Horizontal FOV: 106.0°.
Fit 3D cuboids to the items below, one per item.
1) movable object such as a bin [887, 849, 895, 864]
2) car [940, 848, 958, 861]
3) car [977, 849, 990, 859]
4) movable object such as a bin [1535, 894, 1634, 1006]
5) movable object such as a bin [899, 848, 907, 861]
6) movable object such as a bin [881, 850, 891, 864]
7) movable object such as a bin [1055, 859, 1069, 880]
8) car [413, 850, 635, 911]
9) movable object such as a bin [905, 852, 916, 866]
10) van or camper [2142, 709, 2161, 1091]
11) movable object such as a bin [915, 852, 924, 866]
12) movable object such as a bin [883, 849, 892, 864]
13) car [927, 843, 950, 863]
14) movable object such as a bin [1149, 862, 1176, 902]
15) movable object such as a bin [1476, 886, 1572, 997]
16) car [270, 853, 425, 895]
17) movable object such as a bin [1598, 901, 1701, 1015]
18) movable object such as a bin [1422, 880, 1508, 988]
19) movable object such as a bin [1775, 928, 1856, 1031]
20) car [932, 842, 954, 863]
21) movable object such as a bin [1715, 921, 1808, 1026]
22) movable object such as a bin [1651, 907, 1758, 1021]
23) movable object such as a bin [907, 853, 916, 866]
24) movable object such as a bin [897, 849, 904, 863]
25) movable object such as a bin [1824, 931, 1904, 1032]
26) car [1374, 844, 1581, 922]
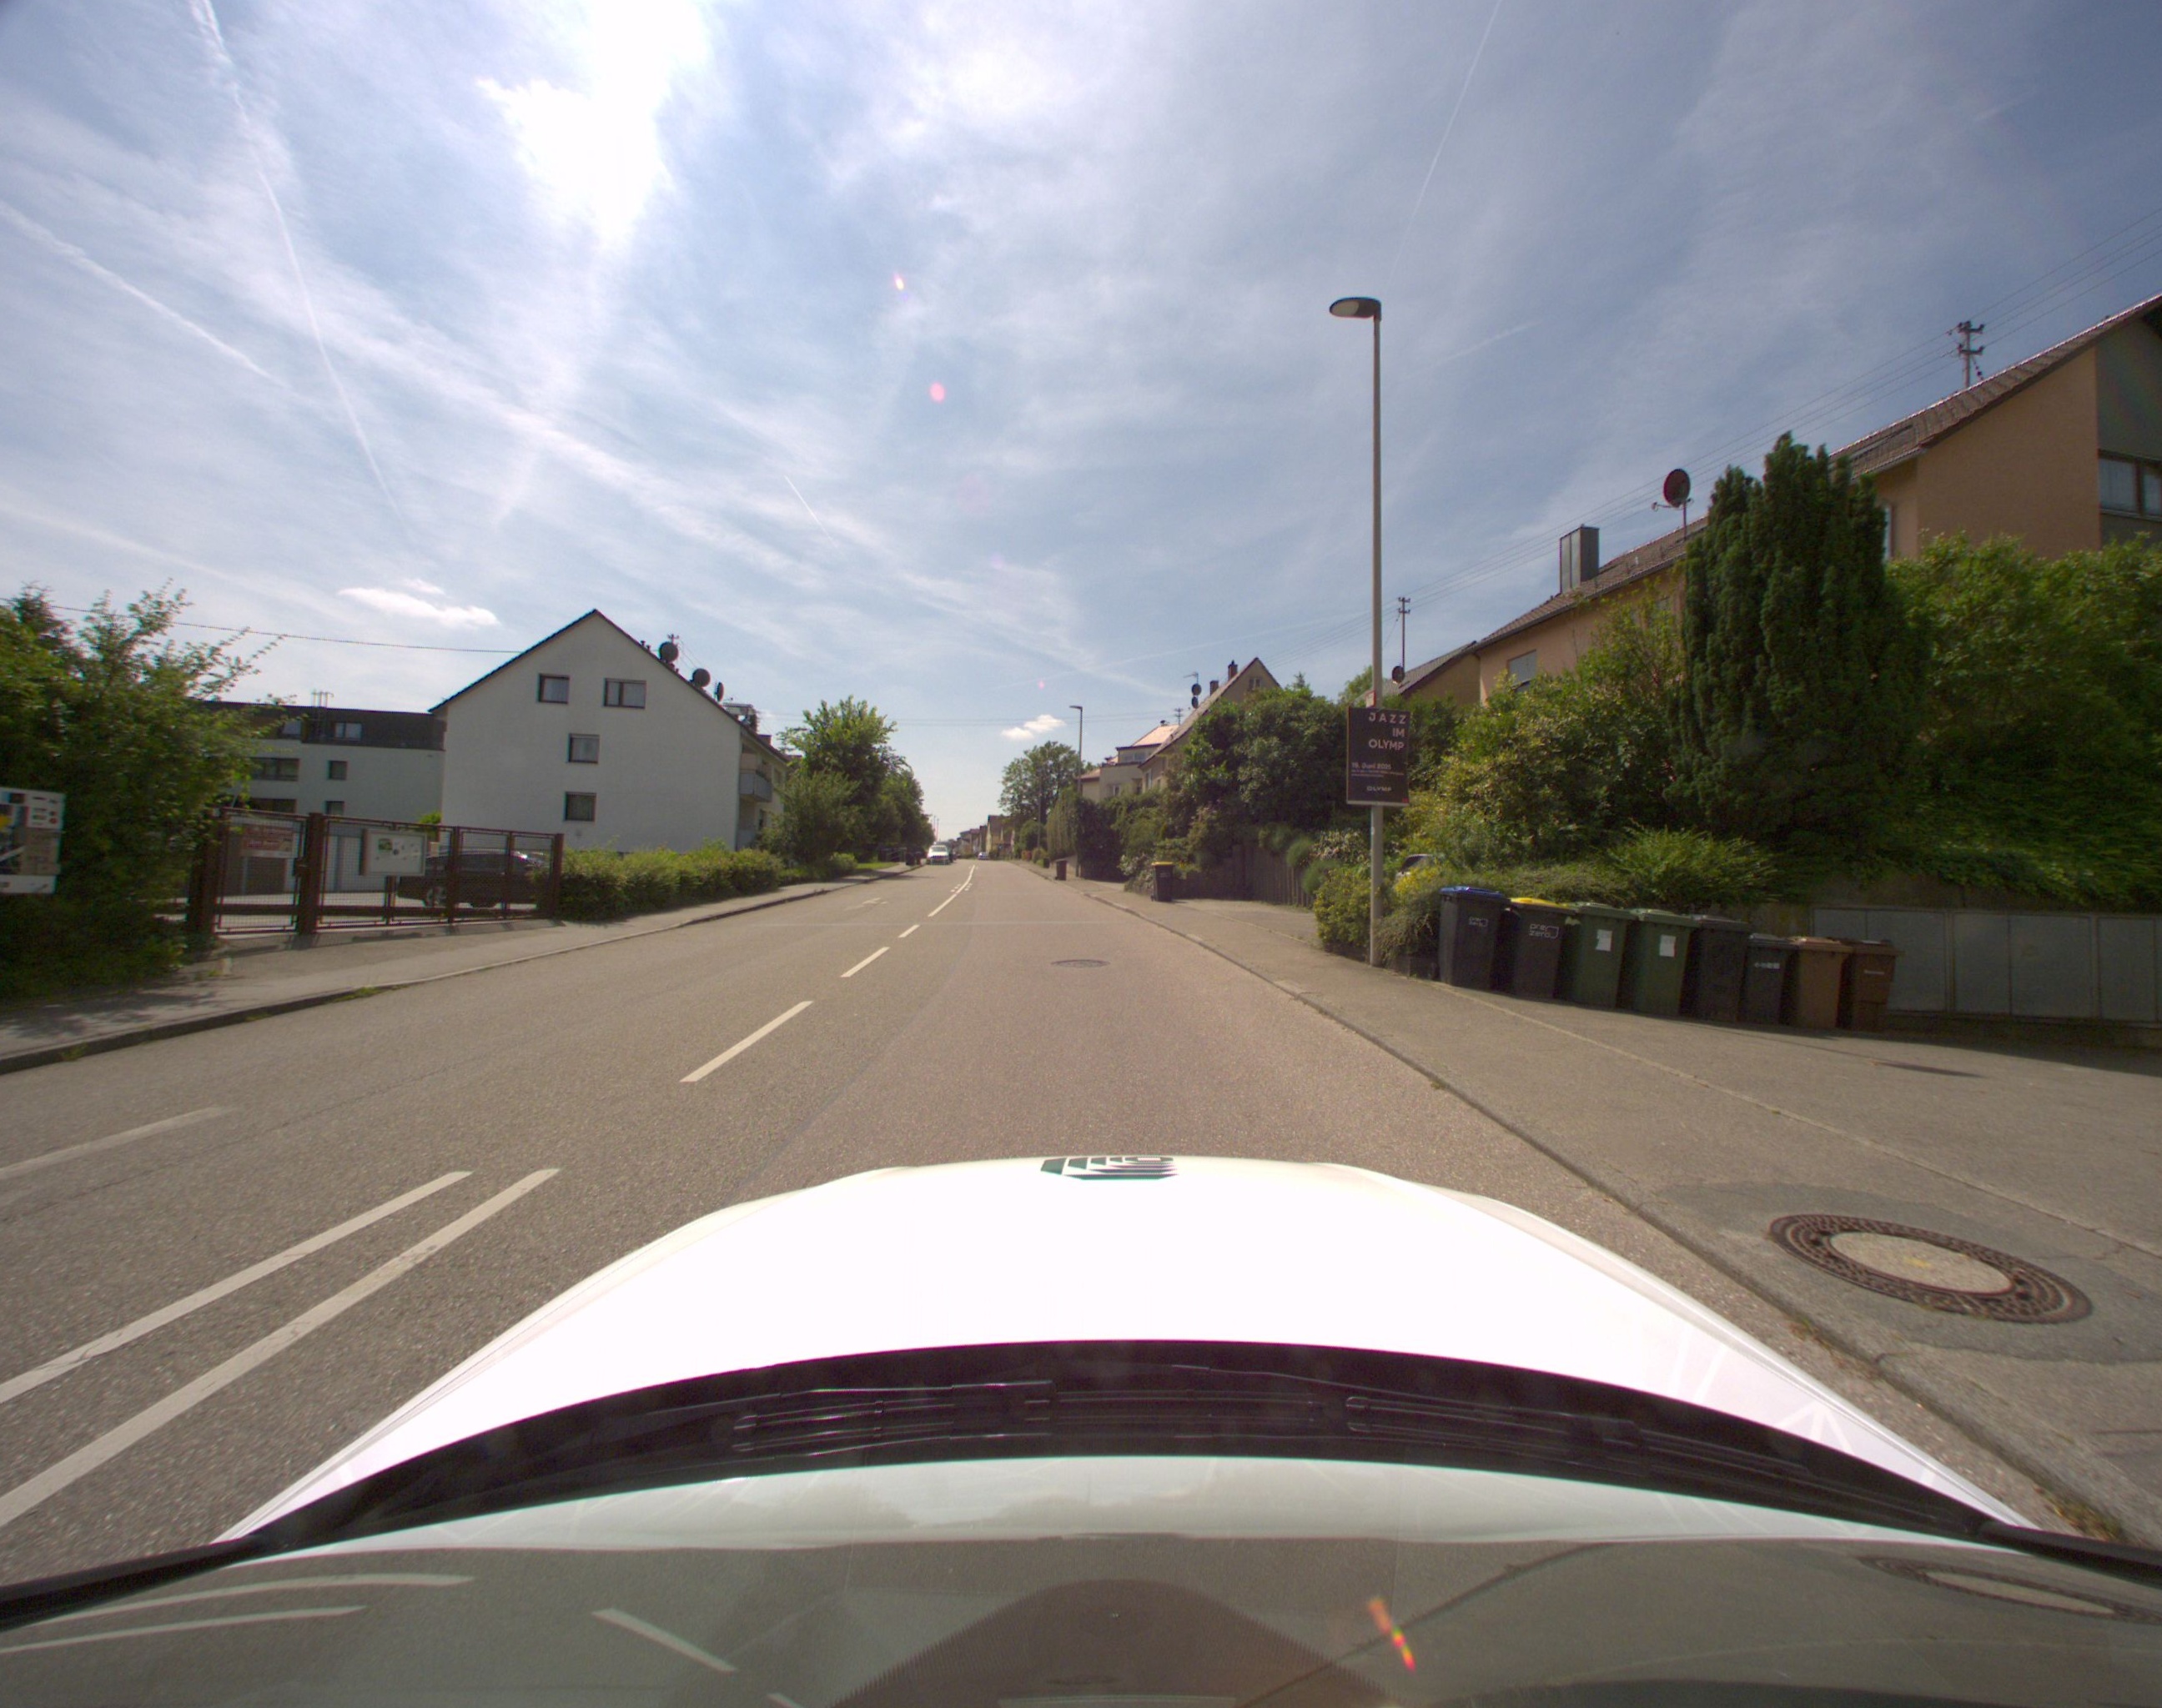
[{"bbox_3d":[-15.243,0.205,65.220,0.475,1.178,0.839,1,0,-2],"label":"movable object such as a bin"},{"bbox_3d":[-14.849,0.062,91.779,1.779,1.394,4.397,0,-1,-7],"label":"car"},{"bbox_3d":[-16.070,0.040,134.598,1.993,1.603,3.988,1,0,-9],"label":"car"},{"bbox_3d":[5.391,1.005,8.752,0.547,1.068,0.673,6,0,1],"label":"movable object such as a bin"},{"bbox_3d":[-14.359,0.016,65.683,0.454,1.044,0.560,-1,-1,-1],"label":"movable object such as a bin"},{"bbox_3d":[-15.254,0.226,63.637,0.601,1.096,0.649,1,0,-1],"label":"movable object such as a bin"},{"bbox_3d":[-0.929,0.740,38.913,0.588,0.977,0.784,-1,0,-8],"label":"movable object such as a bin"},{"bbox_3d":[-13.581,0.638,20.121,3.987,1.387,1.993,1,0,-10],"label":"car"},{"bbox_3d":[-11.912,0.351,57.035,0.617,0.917,0.685,1,0,-1],"label":"movable object such as a bin"},{"bbox_3d":[9.906,0.380,4.264,5.197,2.647,2.289,3,-3,8],"label":"van or camper"},{"bbox_3d":[-11.880,0.377,59.860,0.505,0.988,0.563,1,0,-1],"label":"movable object such as a bin"},{"bbox_3d":[-15.301,0.197,64.366,0.545,1.178,0.673,1,0,-3],"label":"movable object such as a bin"},{"bbox_3d":[-11.815,-0.084,67.603,1.811,1.549,4.229,1,0,-10],"label":"car"},{"bbox_3d":[2.242,0.758,22.442,0.587,1.059,0.918,0,0,-5],"label":"movable object such as a bin"},{"bbox_3d":[4.800,0.925,8.868,0.547,1.068,0.768,6,0,1],"label":"movable object such as a bin"},{"bbox_3d":[-30.115,0.859,33.569,4.259,1.464,1.995,3,-4,-6],"label":"car"},{"bbox_3d":[5.983,1.077,8.599,0.547,1.068,0.673,5,0,1],"label":"movable object such as a bin"},{"bbox_3d":[4.201,0.854,8.948,0.547,1.068,0.659,6,0,1],"label":"movable object such as a bin"},{"bbox_3d":[7.568,1.283,8.405,0.397,0.972,0.409,5,0,1],"label":"movable object such as a bin"},{"bbox_3d":[-12.698,-0.155,74.946,1.896,1.920,4.854,0,1,-10],"label":"car"},{"bbox_3d":[7.082,1.231,8.494,0.457,0.972,0.550,5,0,1],"label":"movable object such as a bin"},{"bbox_3d":[6.553,1.134,8.590,0.547,1.068,0.673,5,0,1],"label":"movable object such as a bin"},{"bbox_3d":[-12.133,0.366,58.309,0.562,0.917,0.642,1,0,-1],"label":"movable object such as a bin"},{"bbox_3d":[-14.384,0.167,64.966,0.516,1.104,0.528,0,0,-9],"label":"movable object such as a bin"},{"bbox_3d":[8.112,1.310,8.448,0.397,0.972,0.409,3,0,1],"label":"movable object such as a bin"},{"bbox_3d":[8.535,0.609,17.659,3.643,1.499,1.831,2,0,-11],"label":"car"}]
